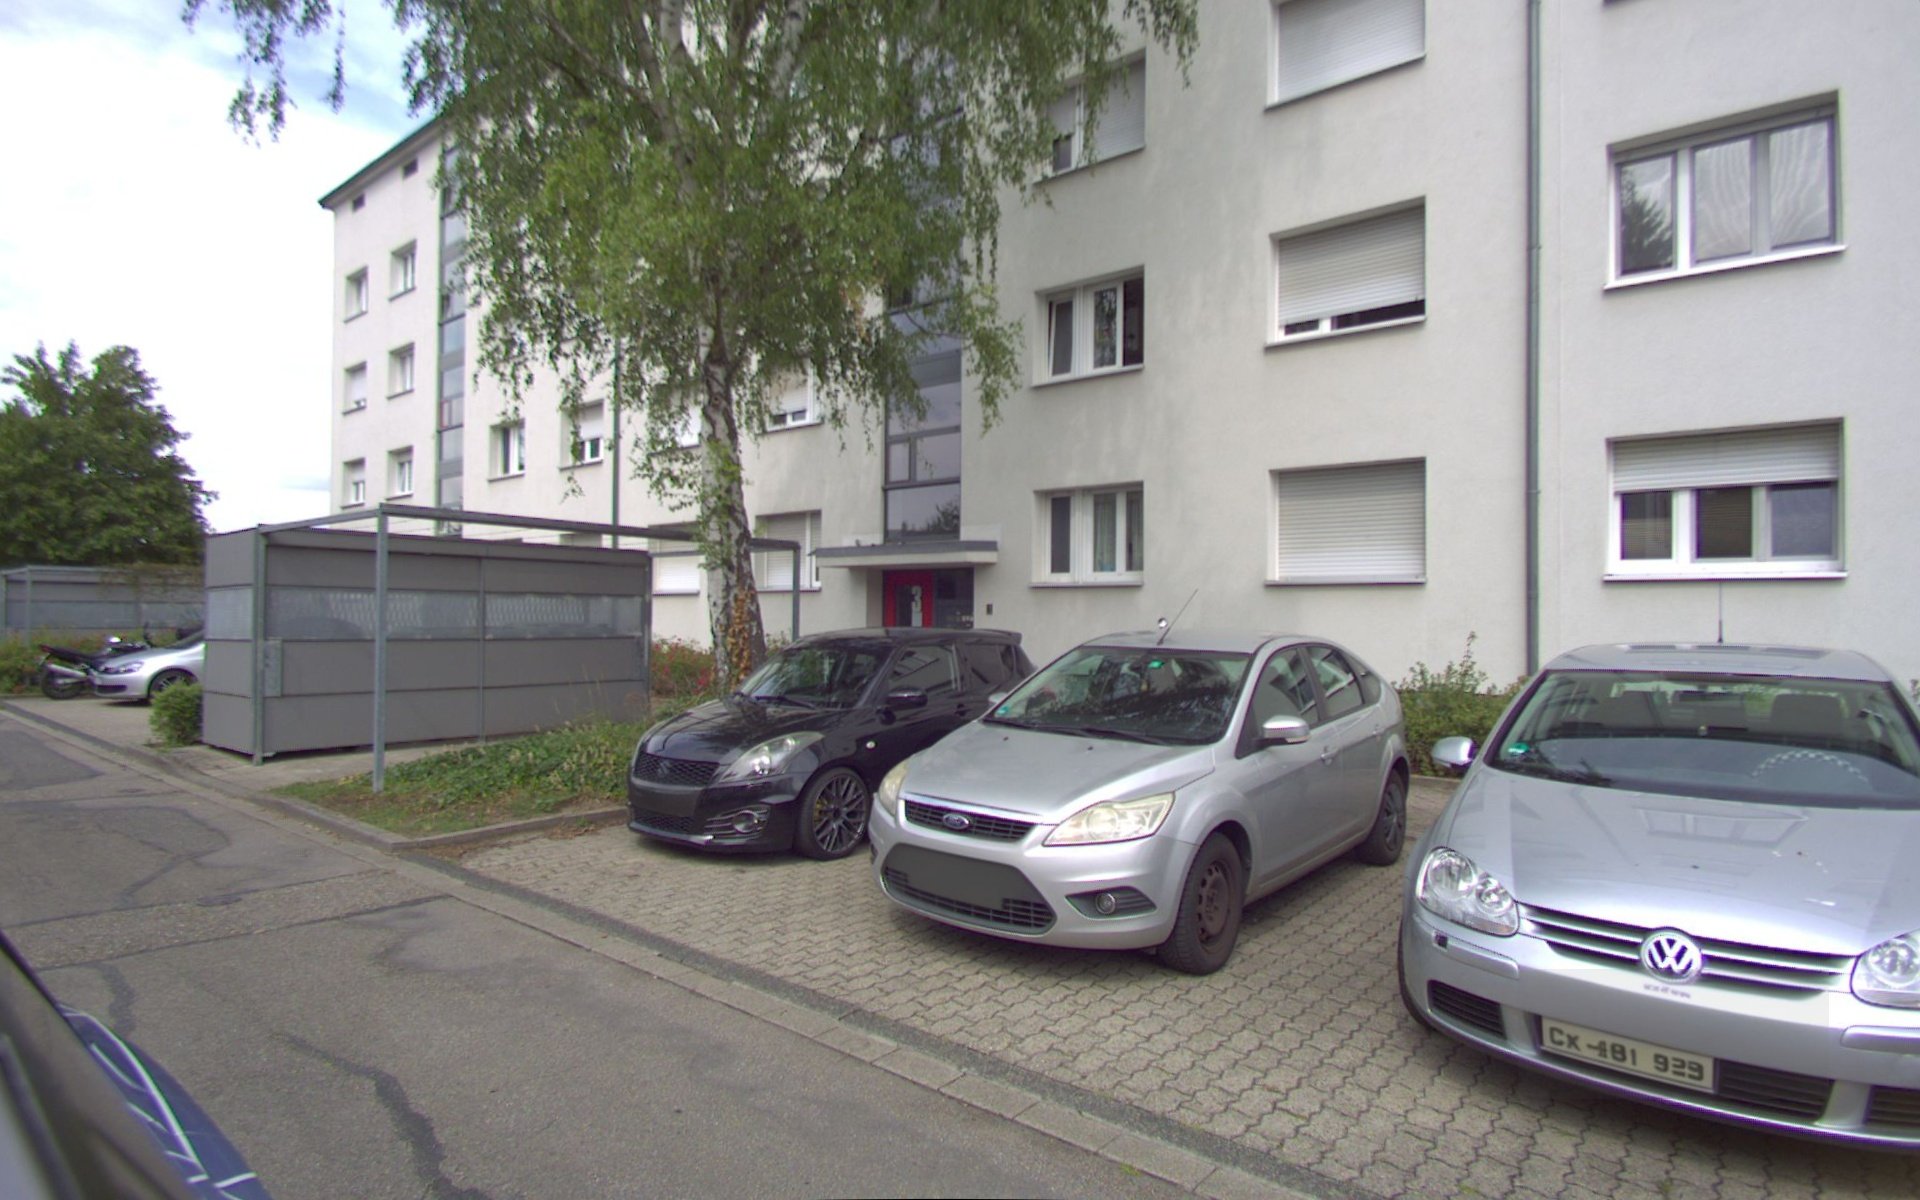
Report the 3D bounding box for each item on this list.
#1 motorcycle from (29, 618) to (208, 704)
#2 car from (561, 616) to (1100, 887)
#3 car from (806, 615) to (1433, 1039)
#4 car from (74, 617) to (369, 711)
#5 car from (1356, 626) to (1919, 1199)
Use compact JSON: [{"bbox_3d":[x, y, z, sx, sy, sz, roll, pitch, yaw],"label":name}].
[{"bbox_3d":[-15.302,1.118,18.479,0.713,1.475,2.353,-1,-4,39],"label":"motorcycle"},{"bbox_3d":[-0.730,0.930,7.825,1.780,1.516,4.011,-1,-2,39],"label":"car"},{"bbox_3d":[1.228,0.894,5.779,1.780,1.516,4.011,-1,-2,39],"label":"car"},{"bbox_3d":[-13.256,1.150,18.346,1.901,1.497,3.945,-1,-4,41],"label":"car"},{"bbox_3d":[3.184,0.882,4.167,1.780,1.475,4.011,-1,-2,39],"label":"car"}]
